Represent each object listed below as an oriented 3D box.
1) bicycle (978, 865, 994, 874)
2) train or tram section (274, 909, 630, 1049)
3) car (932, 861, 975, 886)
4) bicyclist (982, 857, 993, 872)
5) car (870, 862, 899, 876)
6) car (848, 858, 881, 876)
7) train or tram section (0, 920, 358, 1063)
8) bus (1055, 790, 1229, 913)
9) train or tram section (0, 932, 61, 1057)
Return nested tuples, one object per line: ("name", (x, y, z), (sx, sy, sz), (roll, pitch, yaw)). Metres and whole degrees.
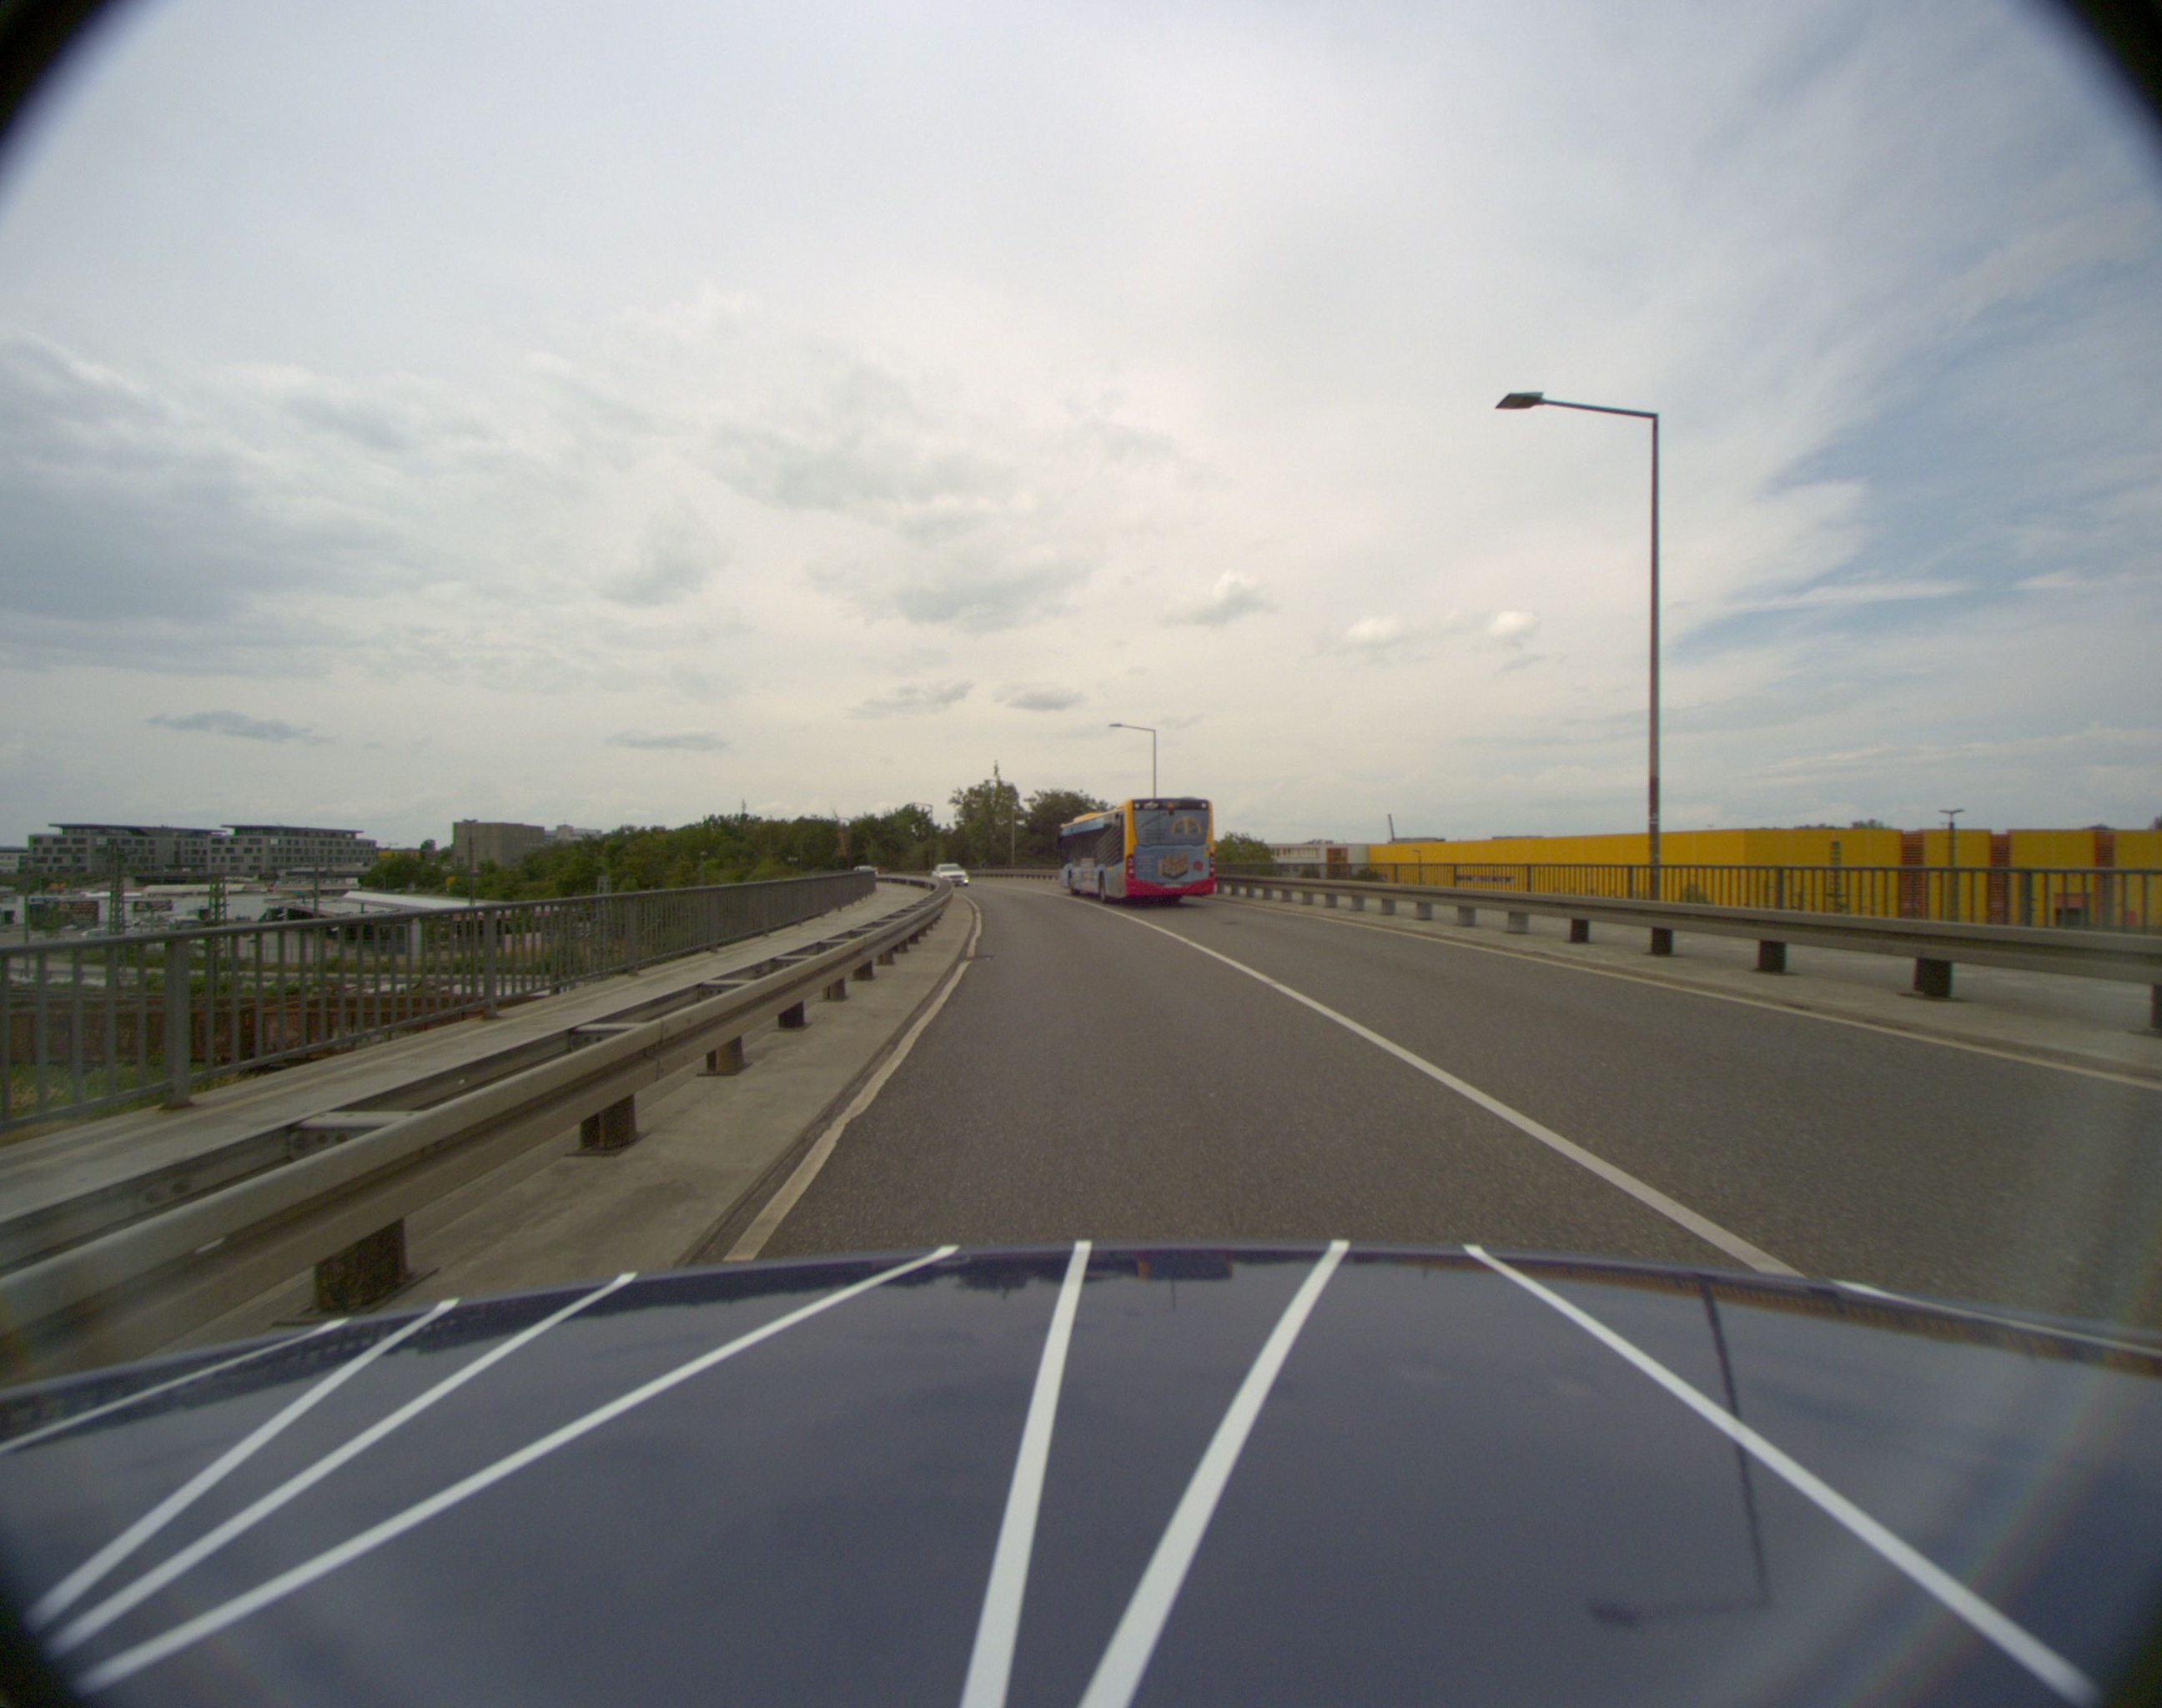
("bicycle", (-9.043, 1.491, 72.347), (0.695, 0.793, 1.888), (-3, -1, -33))
("train or tram section", (-29.671, 5.821, 36.391), (13.642, 5.542, 3.652), (-2, 1, 0))
("car", (-8.354, 1.238, 49.533), (1.941, 1.448, 3.879), (-2, 0, -23))
("bicyclist", (-8.895, 0.997, 72.123), (0.714, 1.436, 0.746), (-3, 0, -33))
("car", (-22.072, 1.704, 85.097), (1.768, 1.483, 3.990), (-3, 0, -36))
("car", (-22.812, 1.413, 80.018), (1.967, 1.694, 4.422), (-3, -1, -34))
("train or tram section", (-43.562, 6.391, 36.097), (14.250, 5.566, 3.658), (-2, 1, -2))
("bus", (1.469, -0.071, 27.005), (3.042, 3.214, 12.940), (-2, 0, -9))
("train or tram section", (-57.699, 6.973, 35.426), (13.903, 5.645, 3.842), (-2, 1, -3))
